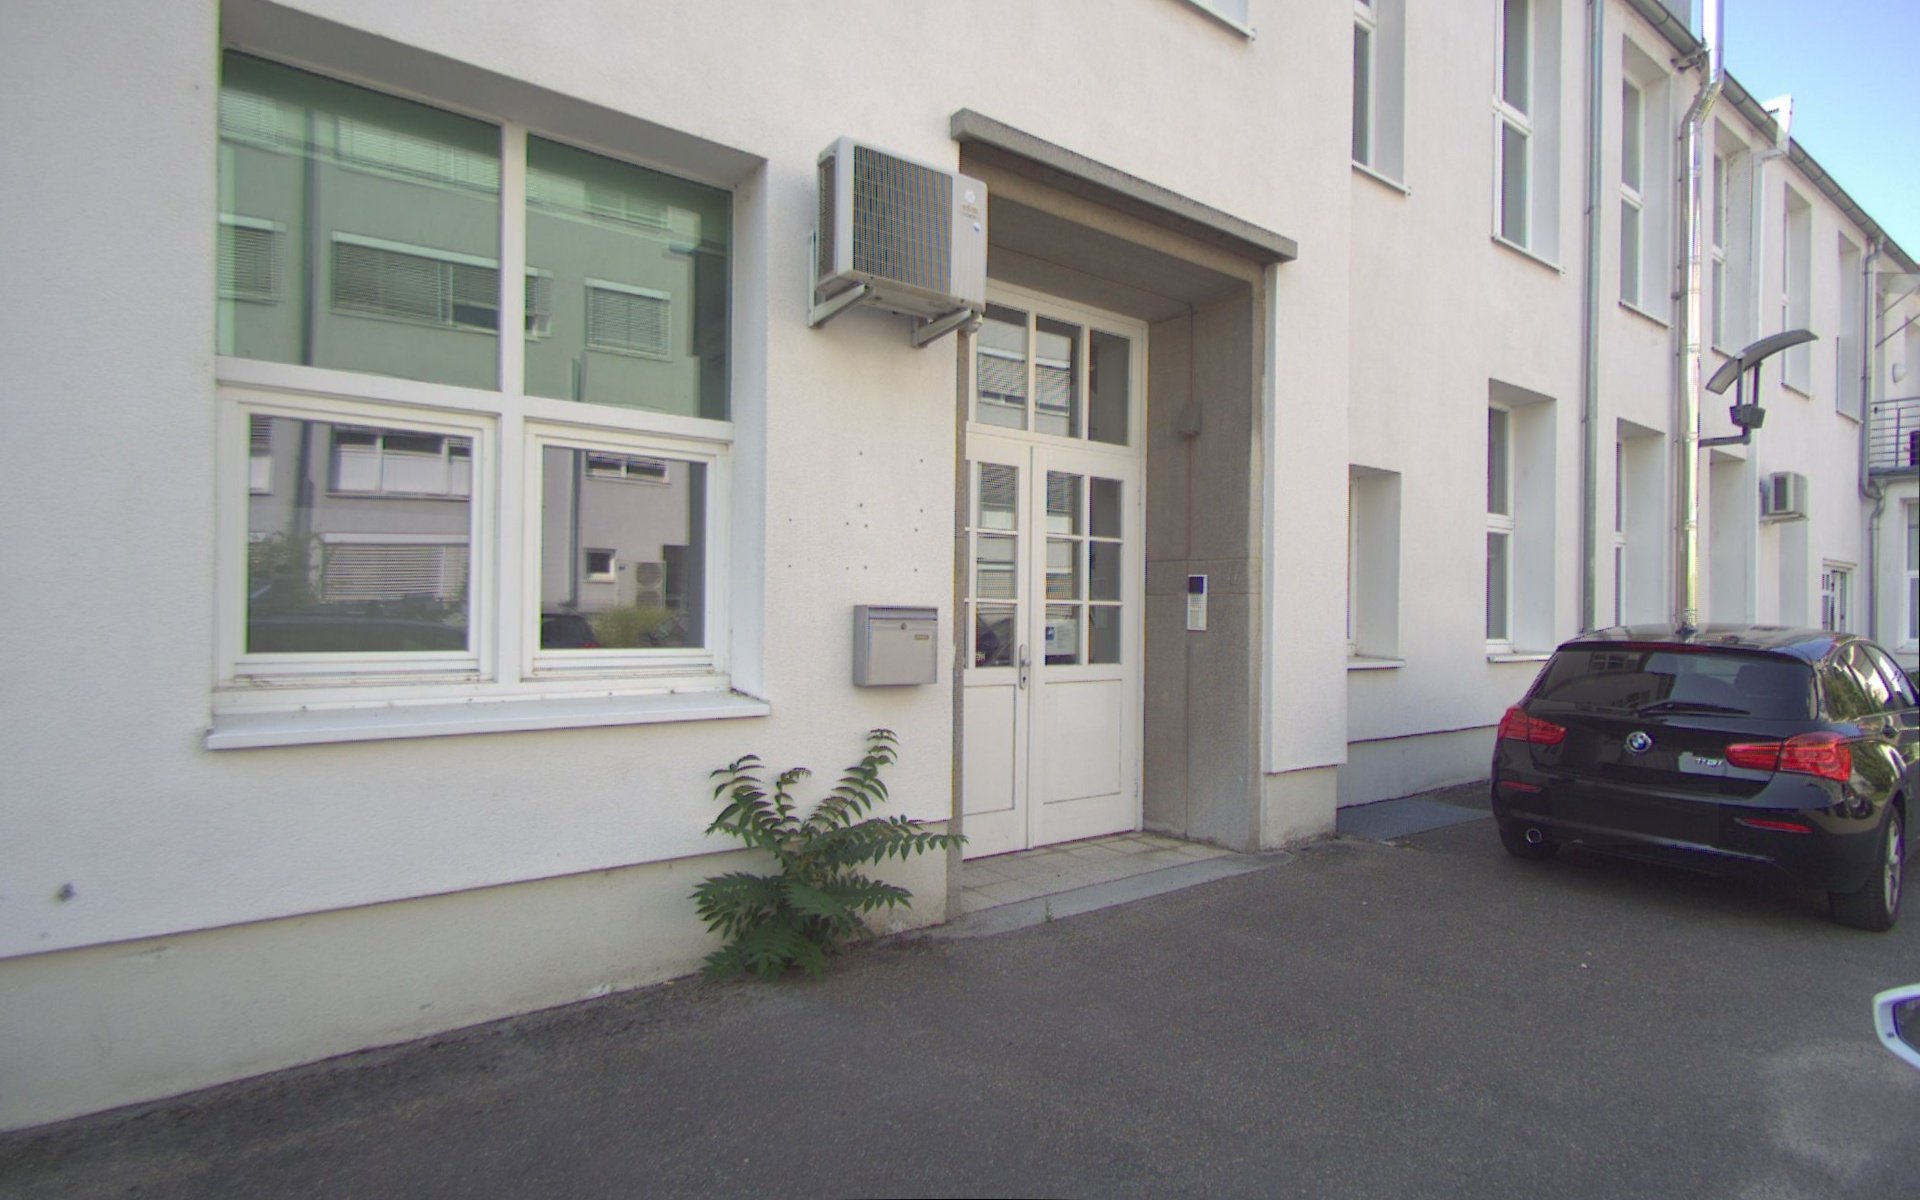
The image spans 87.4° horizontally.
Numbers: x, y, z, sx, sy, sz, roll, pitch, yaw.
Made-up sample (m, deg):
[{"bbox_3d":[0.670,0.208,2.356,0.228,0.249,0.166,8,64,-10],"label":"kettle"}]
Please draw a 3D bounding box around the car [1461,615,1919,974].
[{"bbox_3d":[4.800,0.876,6.088,3.889,1.478,1.675,2,-1,-39],"label":"car"}]
